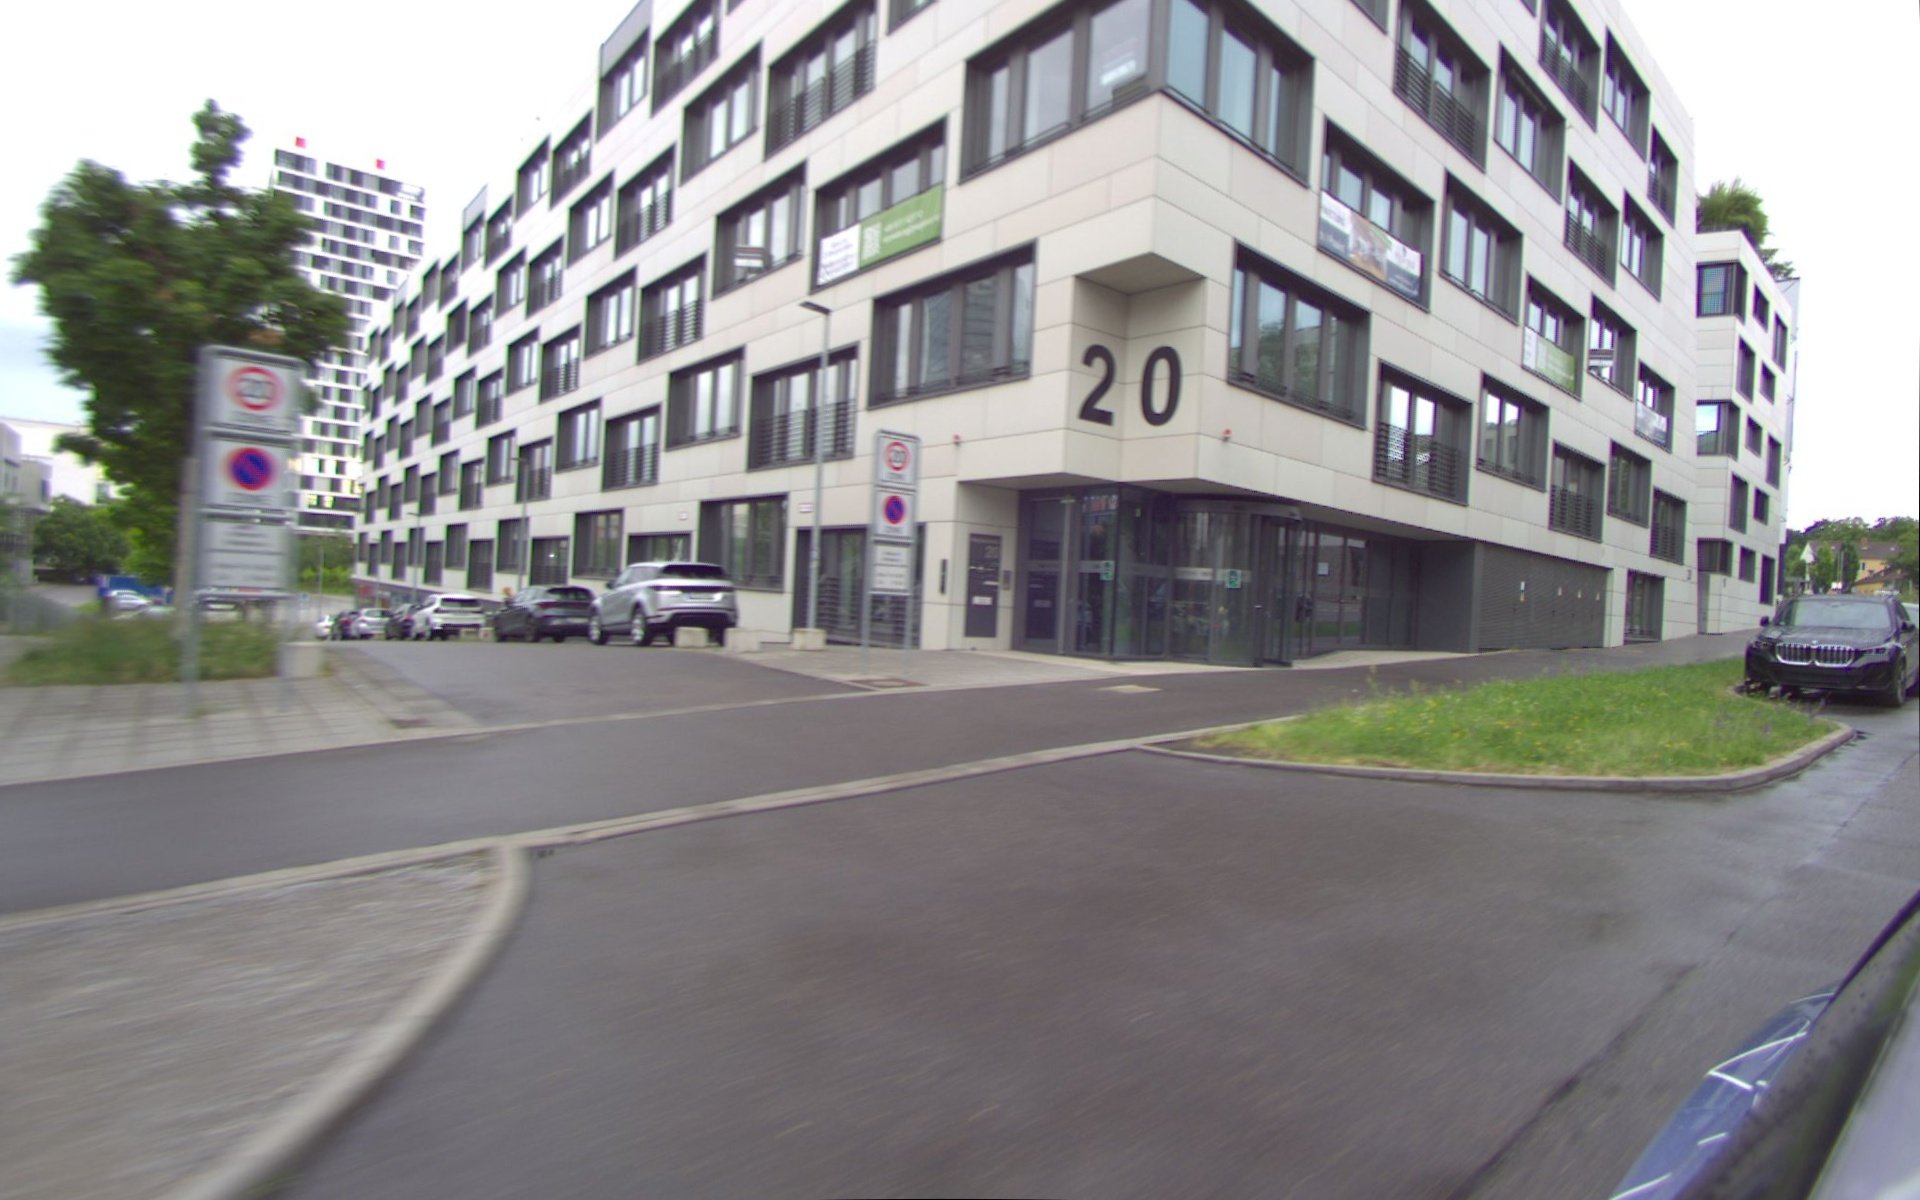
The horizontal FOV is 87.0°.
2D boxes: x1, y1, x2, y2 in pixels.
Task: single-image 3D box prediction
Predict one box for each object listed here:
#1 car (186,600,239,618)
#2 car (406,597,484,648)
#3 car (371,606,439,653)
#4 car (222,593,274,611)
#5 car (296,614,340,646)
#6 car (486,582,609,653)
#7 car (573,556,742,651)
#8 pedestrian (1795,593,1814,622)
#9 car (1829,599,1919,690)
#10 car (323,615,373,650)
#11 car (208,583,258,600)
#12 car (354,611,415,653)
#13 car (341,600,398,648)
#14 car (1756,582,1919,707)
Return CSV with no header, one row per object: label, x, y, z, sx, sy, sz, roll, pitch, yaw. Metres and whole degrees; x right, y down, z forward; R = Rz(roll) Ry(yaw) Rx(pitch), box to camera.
car,-70.077,0.893,94.897,3.928,1.636,1.891,1,-2,-40
car,-18.037,0.754,35.387,1.635,1.575,3.807,1,1,-40
car,-21.732,1.108,39.556,1.635,1.575,3.807,1,1,-40
car,-73.910,0.196,105.092,4.327,1.808,1.891,1,-2,-40
car,-36.511,1.668,57.546,1.635,1.575,3.807,1,1,-40
car,-10.483,0.381,25.571,1.757,1.565,3.996,1,1,-40
car,-5.975,0.109,19.722,1.859,1.636,3.996,1,-2,-37
pedestrian,53.640,0.452,64.277,0.822,1.818,1.189,3,2,43
car,18.869,0.818,20.193,4.298,1.625,1.751,0,1,-42
car,-31.408,1.619,51.859,1.635,1.575,3.807,1,1,-40
car,-79.813,-0.896,111.122,4.327,1.808,1.891,1,-2,-40
car,-24.714,1.315,43.416,1.635,1.575,3.807,1,1,-40
car,-28.096,1.086,48.096,1.707,2.039,3.996,1,1,-40
car,14.338,0.654,16.124,4.630,1.700,1.810,2,0,-42
